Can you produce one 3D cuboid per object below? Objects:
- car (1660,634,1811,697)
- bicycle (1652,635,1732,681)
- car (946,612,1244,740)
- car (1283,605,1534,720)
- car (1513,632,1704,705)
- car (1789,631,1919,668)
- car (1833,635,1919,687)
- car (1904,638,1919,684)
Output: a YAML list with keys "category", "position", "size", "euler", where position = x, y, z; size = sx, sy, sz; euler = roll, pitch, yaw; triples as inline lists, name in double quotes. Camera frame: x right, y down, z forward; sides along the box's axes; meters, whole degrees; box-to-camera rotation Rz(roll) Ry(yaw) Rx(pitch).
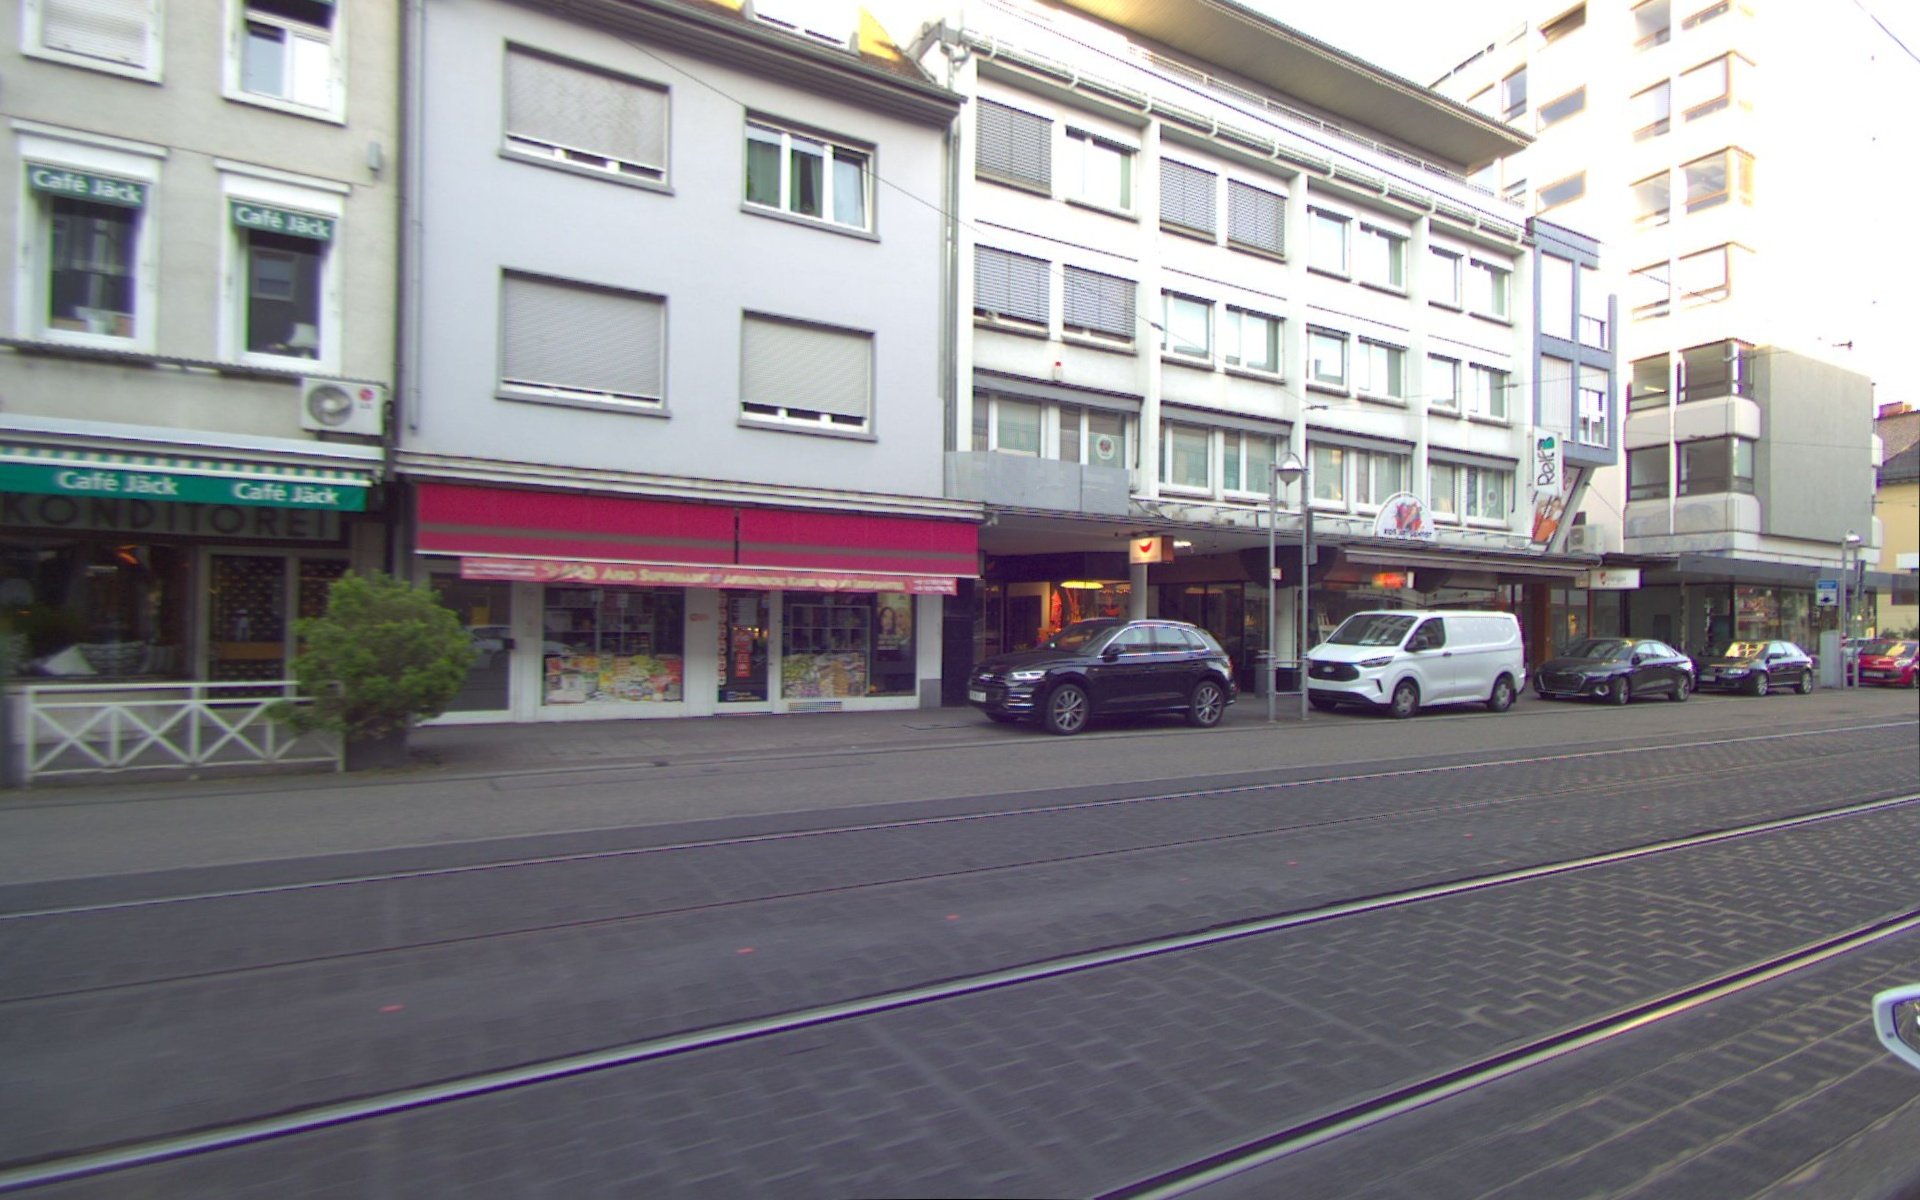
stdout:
- category: "car"
  position: [20.401, 1.665, 26.380]
  size: [4.395, 1.532, 1.677]
  euler: [1, -2, -31]
- category: "bicycle"
  position: [24.045, 1.875, 33.014]
  size: [0.824, 1.444, 1.958]
  euler: [1, -2, -31]
- category: "car"
  position: [2.180, 1.099, 15.777]
  size: [4.476, 1.744, 1.848]
  euler: [1, -1, -31]
- category: "car"
  position: [8.833, 1.166, 19.642]
  size: [5.104, 2.003, 1.945]
  euler: [1, -2, -31]
- category: "car"
  position: [15.131, 1.532, 23.392]
  size: [4.506, 1.485, 1.983]
  euler: [1, -1, -31]
- category: "car"
  position: [39.034, 2.122, 43.865]
  size: [1.823, 1.486, 3.972]
  euler: [1, -2, -27]
- category: "car"
  position: [29.411, 1.886, 31.578]
  size: [4.165, 1.532, 1.678]
  euler: [1, -2, -30]
- category: "car"
  position: [33.897, 2.064, 34.017]
  size: [4.165, 1.532, 1.678]
  euler: [1, -2, -30]
